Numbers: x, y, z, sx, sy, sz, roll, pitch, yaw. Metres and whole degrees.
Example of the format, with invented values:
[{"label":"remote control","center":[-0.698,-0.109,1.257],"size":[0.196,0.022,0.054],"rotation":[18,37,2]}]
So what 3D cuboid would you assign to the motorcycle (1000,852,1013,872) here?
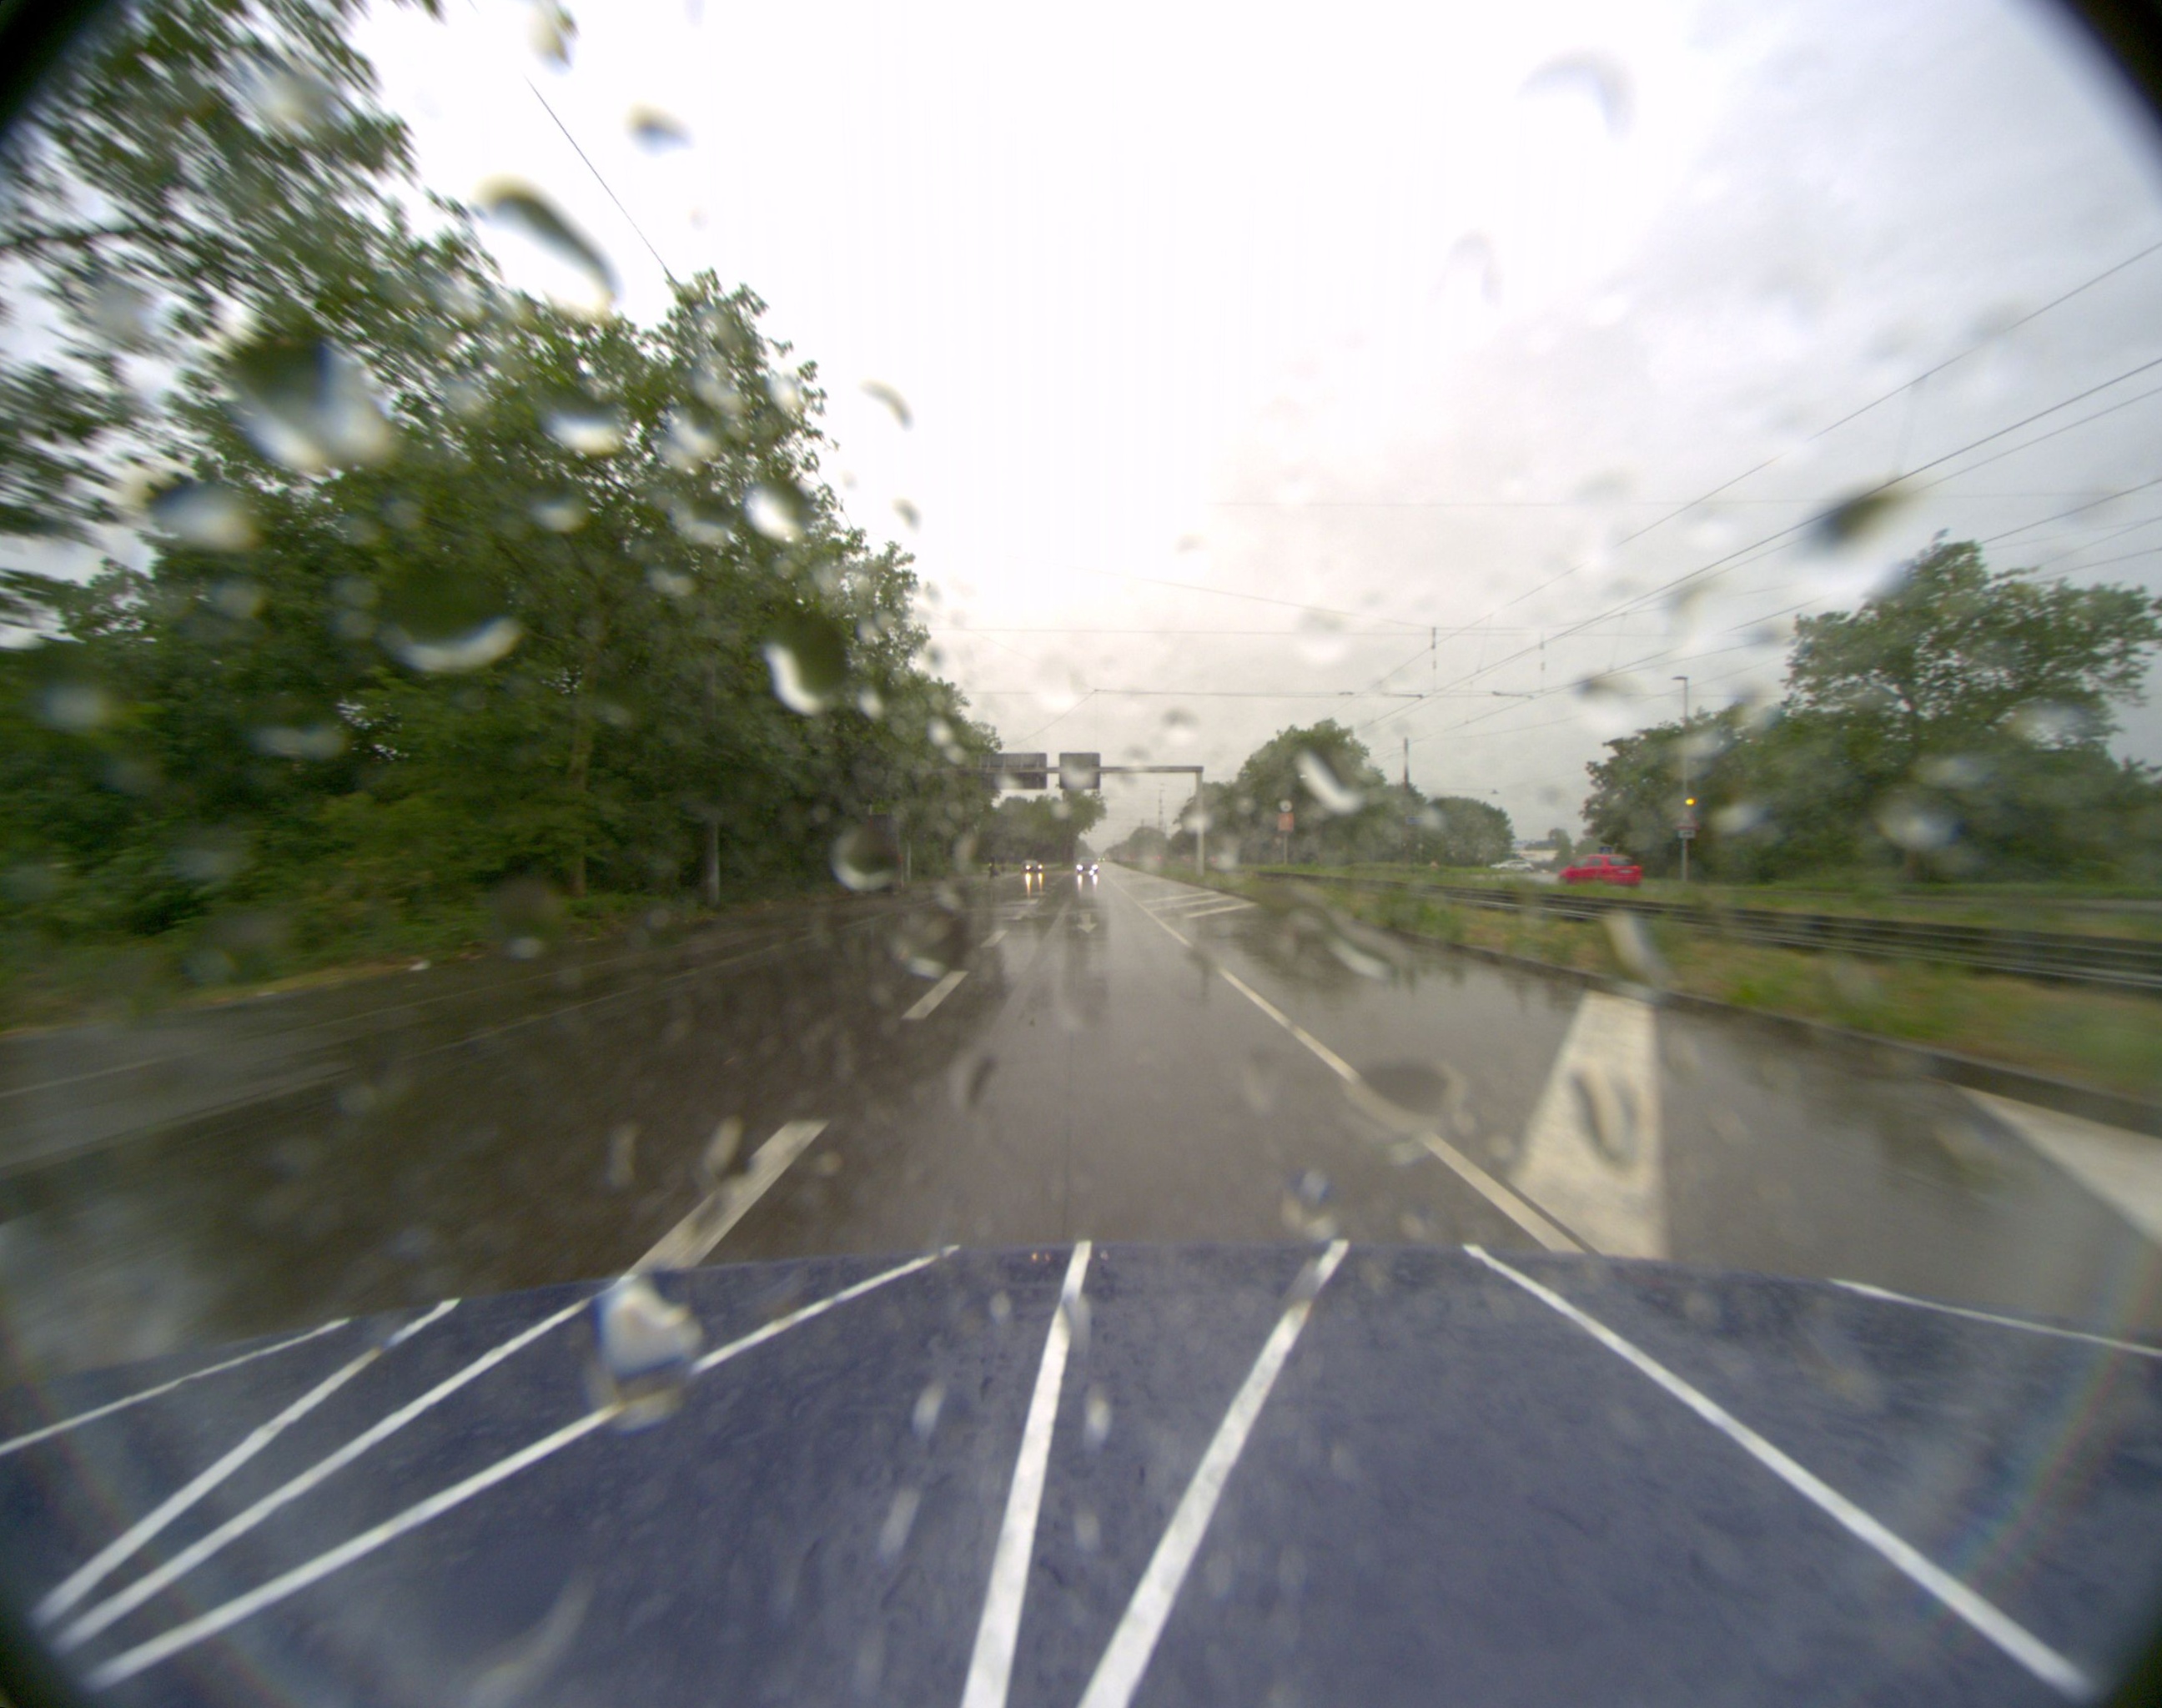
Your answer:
[{"label":"motorcycle","center":[-6.515,0.653,66.767],"size":[0.845,1.710,2.586],"rotation":[-2,0,0]}]

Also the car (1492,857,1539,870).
[{"label":"car","center":[48.842,1.044,85.418],"size":[4.489,1.348,1.606],"rotation":[-1,1,-3]}]

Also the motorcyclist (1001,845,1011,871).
[{"label":"motorcyclist","center":[-6.559,0.365,66.630],"size":[0.762,2.246,0.915],"rotation":[-1,1,0]}]

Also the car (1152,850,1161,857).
[{"label":"car","center":[20.389,-0.155,205.488],"size":[1.998,2.002,4.000],"rotation":[-1,0,1]}]

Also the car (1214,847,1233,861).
[{"label":"car","center":[22.421,0.010,119.866],"size":[1.975,2.002,4.519],"rotation":[-1,0,-3]}]

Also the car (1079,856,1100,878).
[{"label":"car","center":[0.818,1.245,74.319],"size":[1.998,2.002,4.000],"rotation":[-1,0,1]}]

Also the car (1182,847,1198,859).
[{"label":"car","center":[17.978,-0.186,125.530],"size":[1.998,2.002,4.000],"rotation":[-1,0,1]}]

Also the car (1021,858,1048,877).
[{"label":"car","center":[-5.111,1.481,83.422],"size":[2.001,2.002,3.994],"rotation":[-1,0,-18]}]

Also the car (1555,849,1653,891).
[{"label":"car","center":[21.772,0.623,31.800],"size":[1.606,1.580,3.618],"rotation":[-1,1,1]}]
